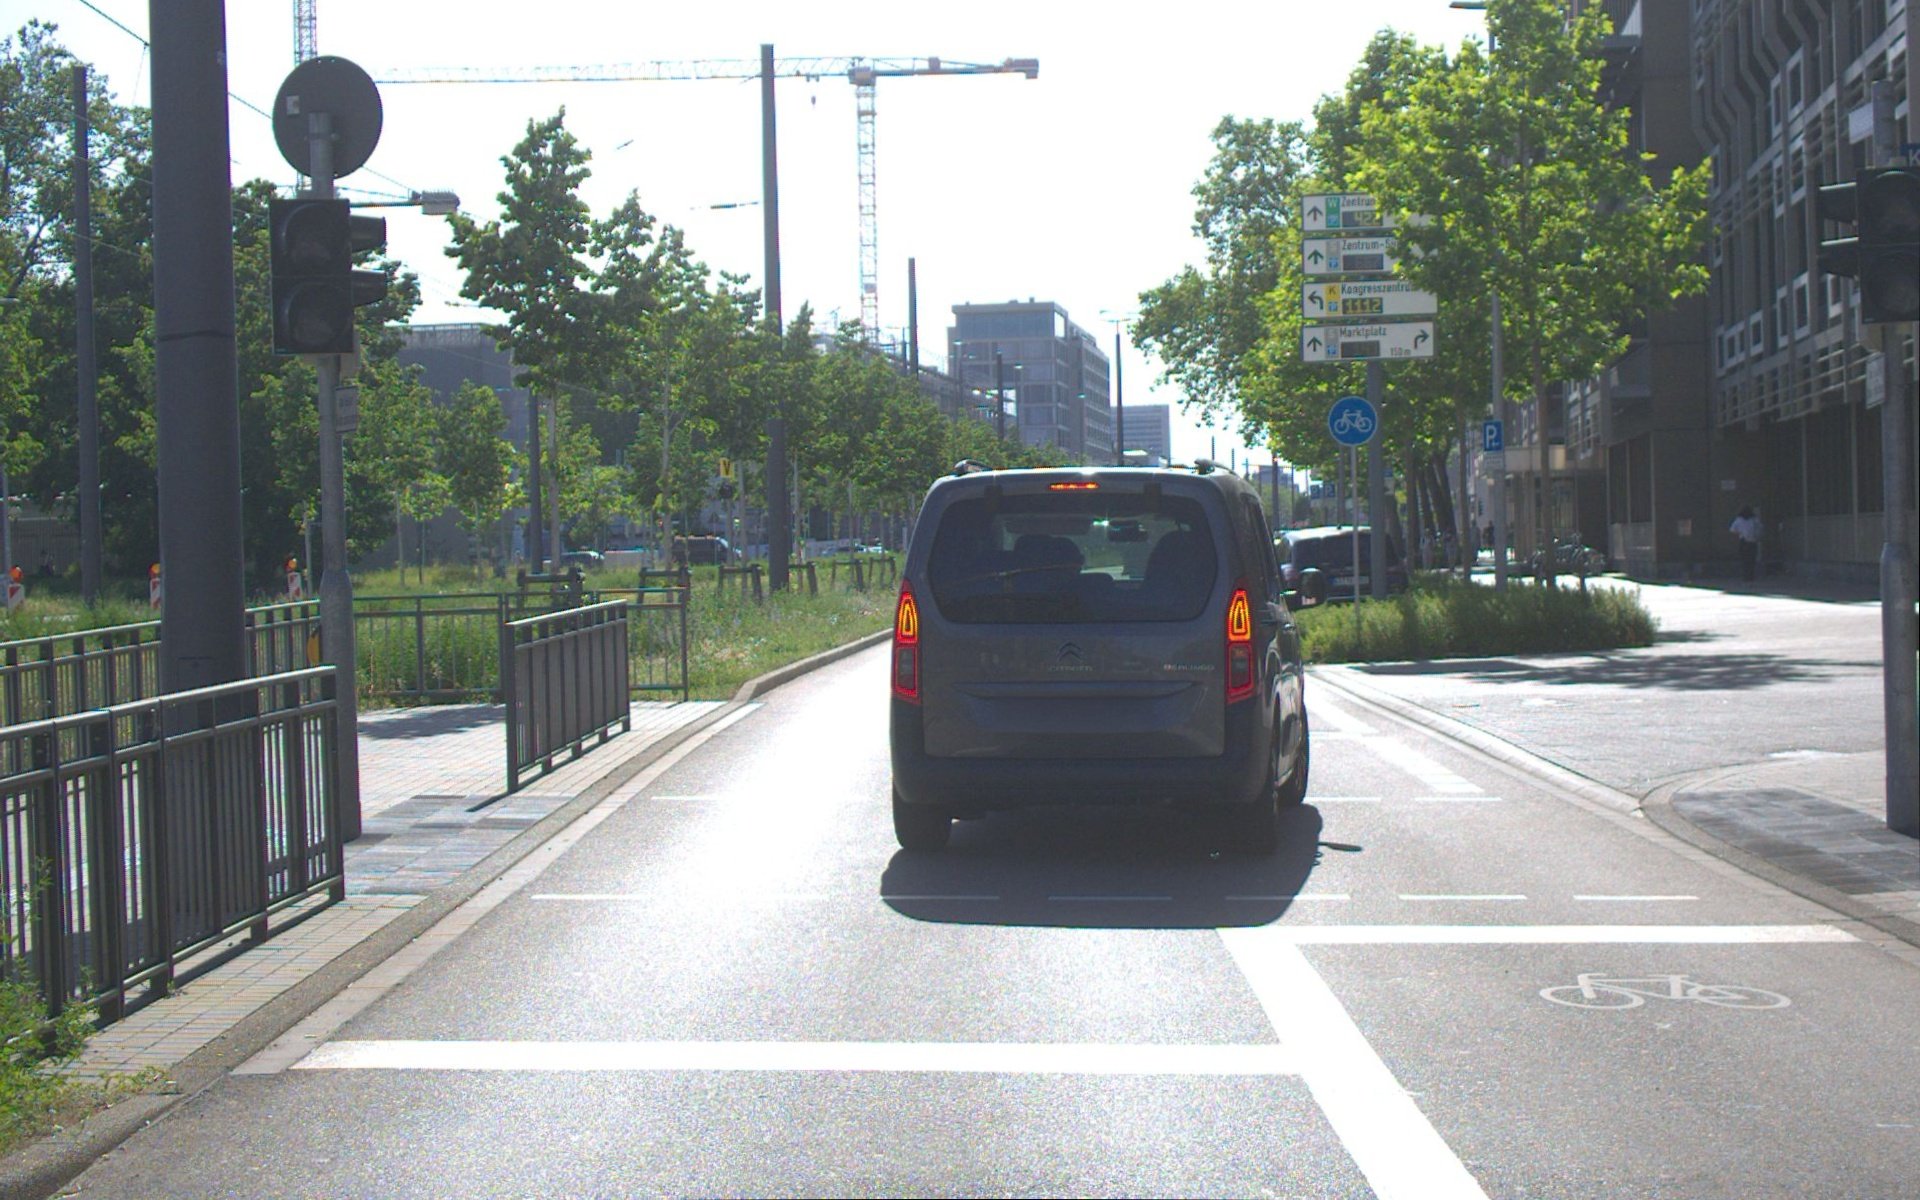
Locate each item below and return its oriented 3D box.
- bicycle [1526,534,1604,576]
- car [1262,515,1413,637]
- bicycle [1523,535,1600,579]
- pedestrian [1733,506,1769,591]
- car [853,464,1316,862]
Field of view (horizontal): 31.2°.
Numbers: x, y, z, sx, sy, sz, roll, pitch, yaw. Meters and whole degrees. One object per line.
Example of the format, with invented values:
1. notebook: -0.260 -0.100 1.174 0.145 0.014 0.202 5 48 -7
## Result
1. bicycle: 15.123 -1.119 85.895 1.858 0.935 0.426 -3 0 9
2. car: 5.423 -0.367 49.870 1.747 1.653 4.470 -1 1 1
3. bicycle: 15.233 -1.091 87.061 1.858 1.007 0.426 -3 0 9
4. pedestrian: 15.373 -1.003 66.810 0.511 1.617 0.674 -3 1 7
5. car: 0.760 0.253 17.387 1.812 1.746 4.166 -1 1 9
